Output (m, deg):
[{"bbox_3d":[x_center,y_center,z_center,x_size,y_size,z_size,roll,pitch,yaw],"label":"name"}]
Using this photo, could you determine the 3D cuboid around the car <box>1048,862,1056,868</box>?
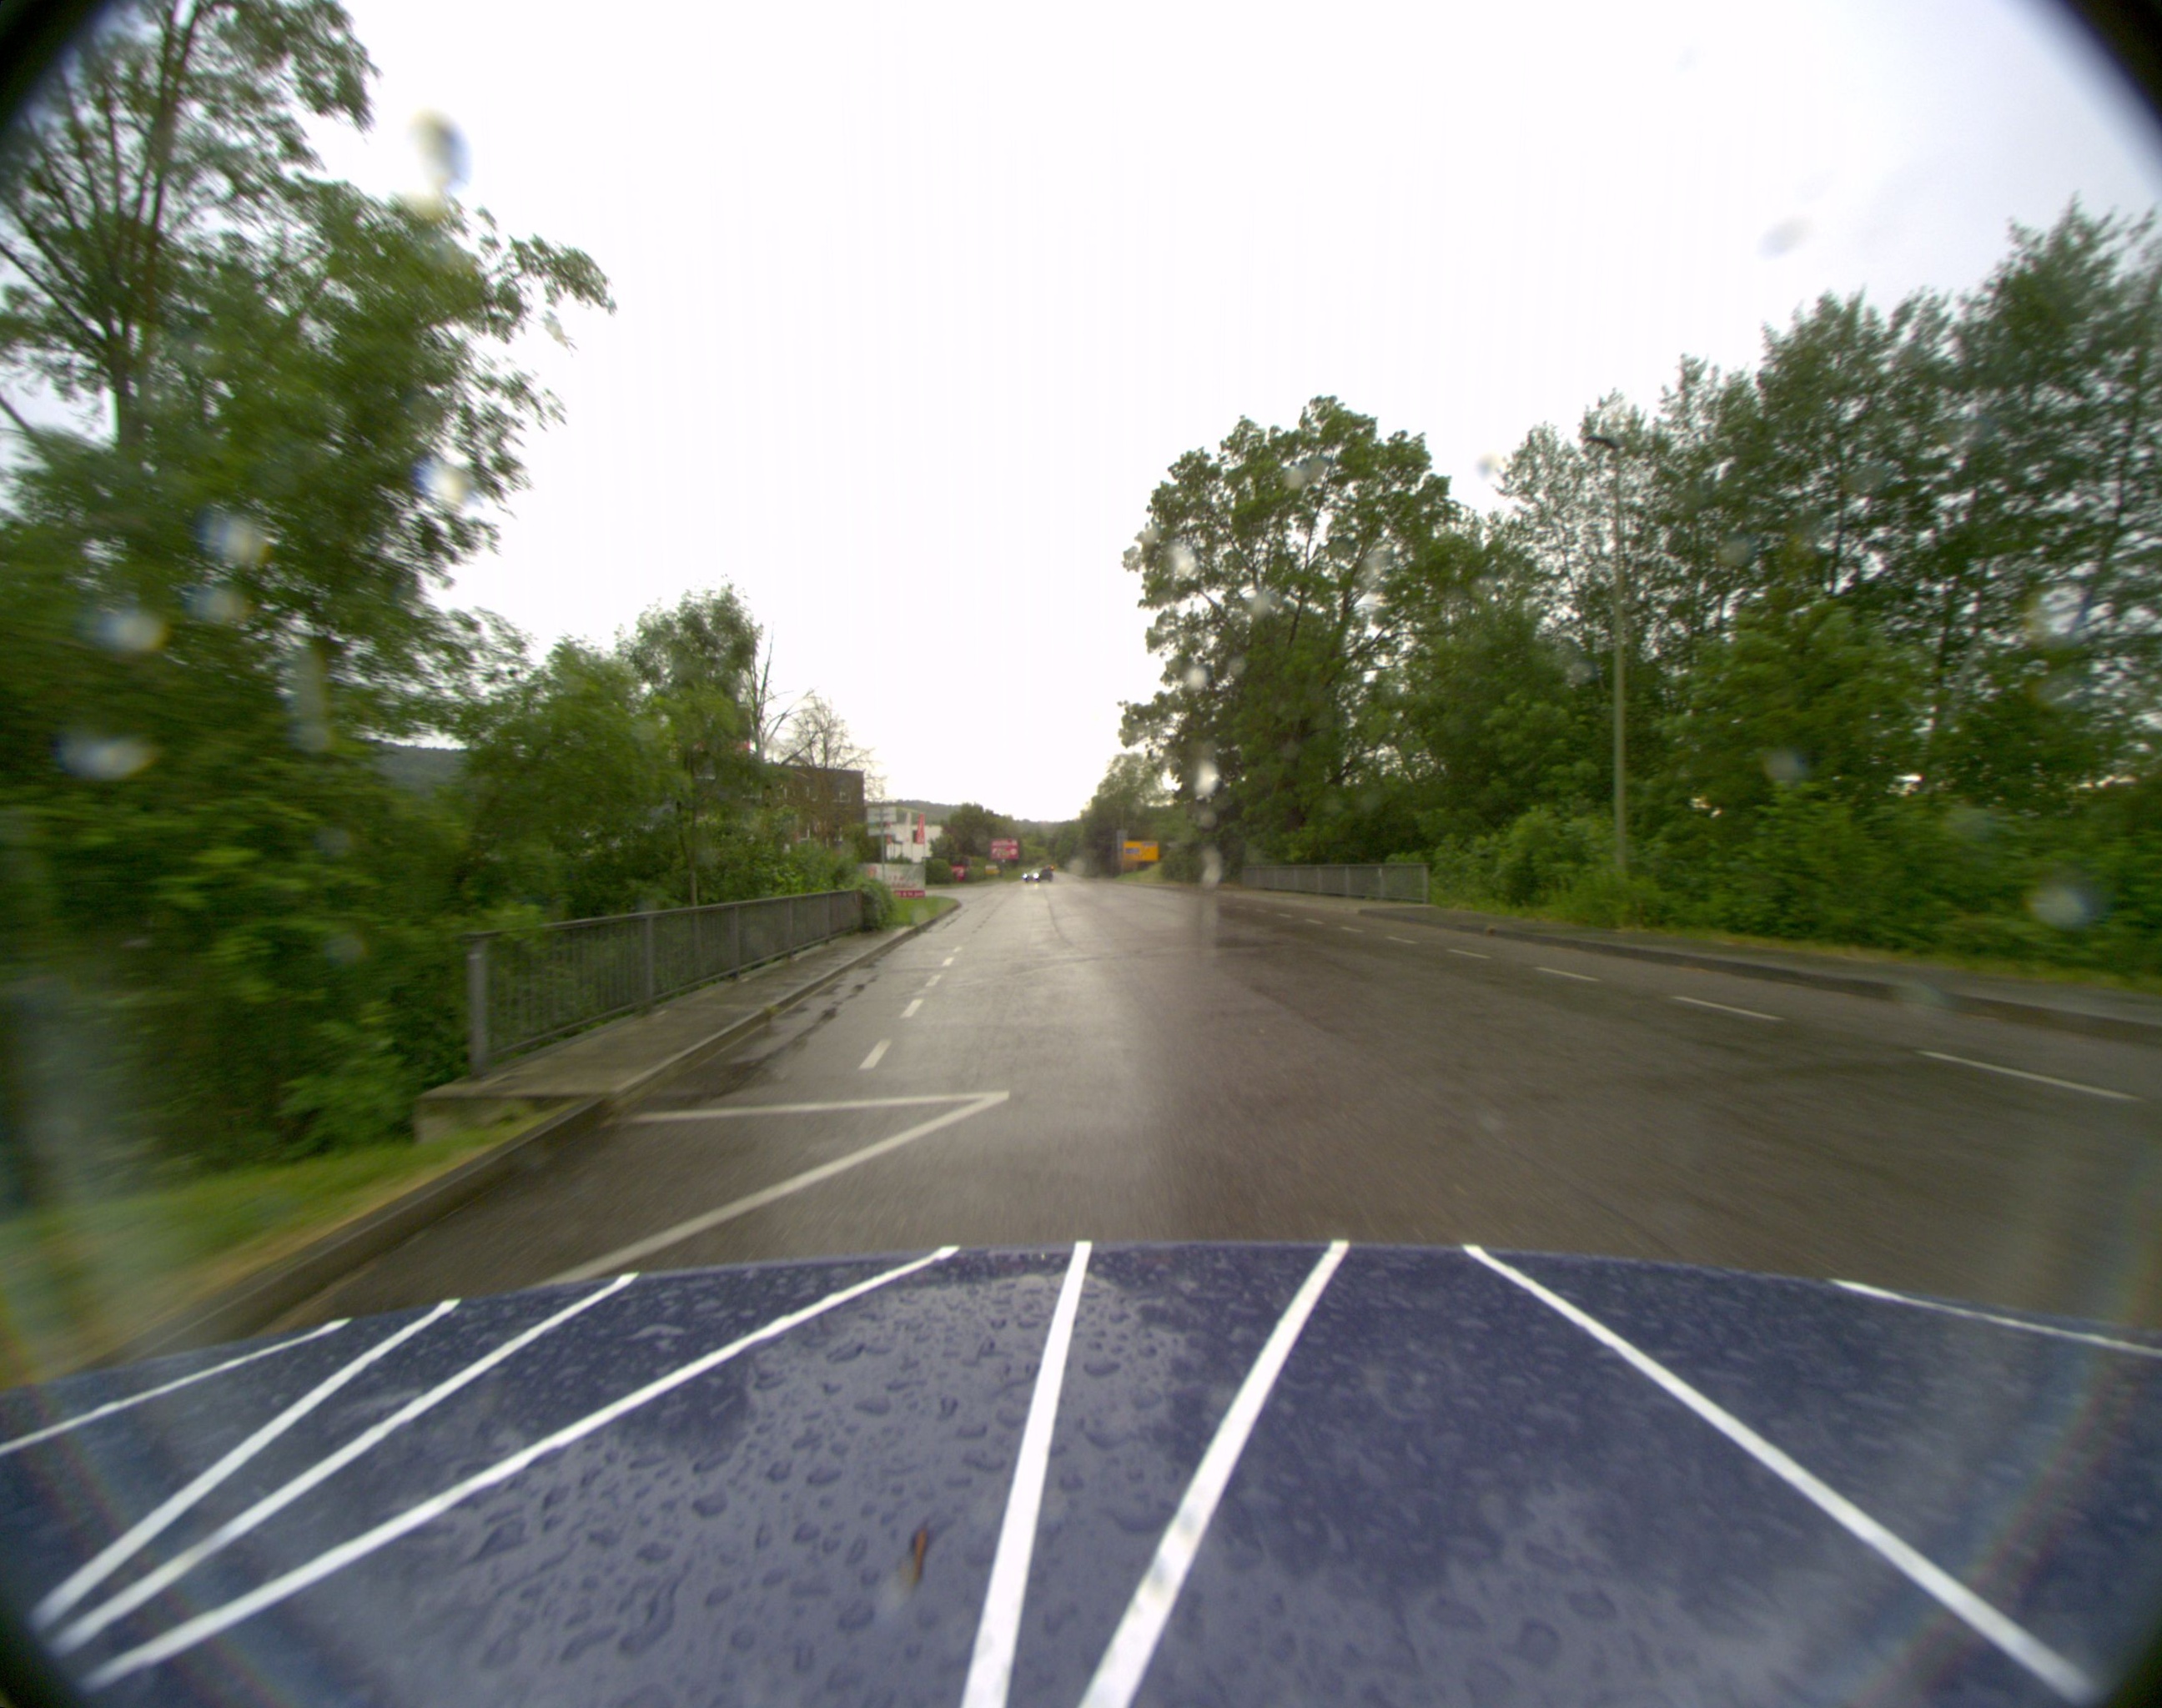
[{"bbox_3d":[-6.661,2.522,175.836,1.834,1.514,4.000,-1,-1,-1],"label":"car"}]

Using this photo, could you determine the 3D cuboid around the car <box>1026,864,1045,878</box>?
[{"bbox_3d":[-5.080,1.870,84.430,1.857,1.481,4.118,-1,-1,-8],"label":"car"}]
